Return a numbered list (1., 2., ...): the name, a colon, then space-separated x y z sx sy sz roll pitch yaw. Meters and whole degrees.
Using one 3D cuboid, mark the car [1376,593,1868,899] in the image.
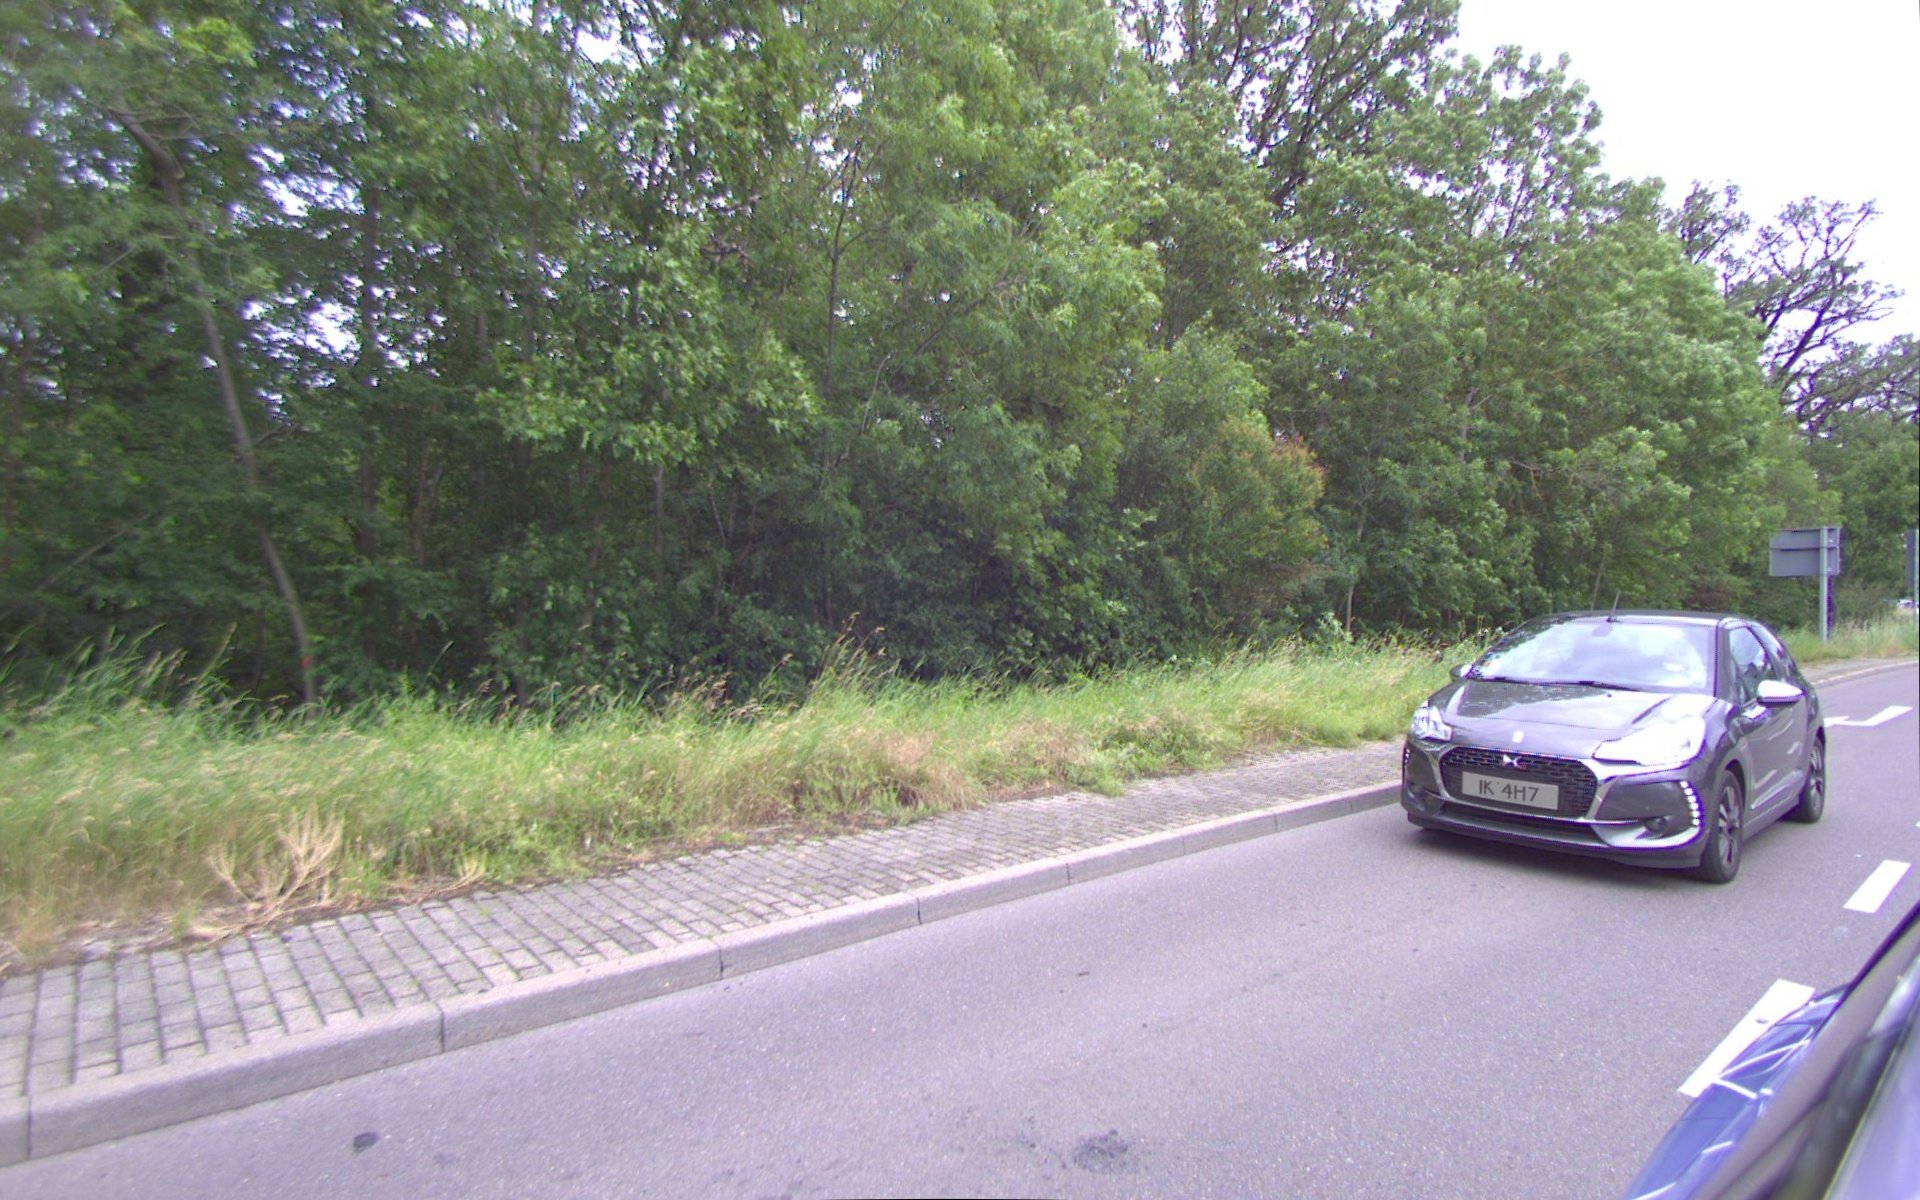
1. car: 4.558 0.693 6.772 3.786 1.476 1.729 0 0 -40
